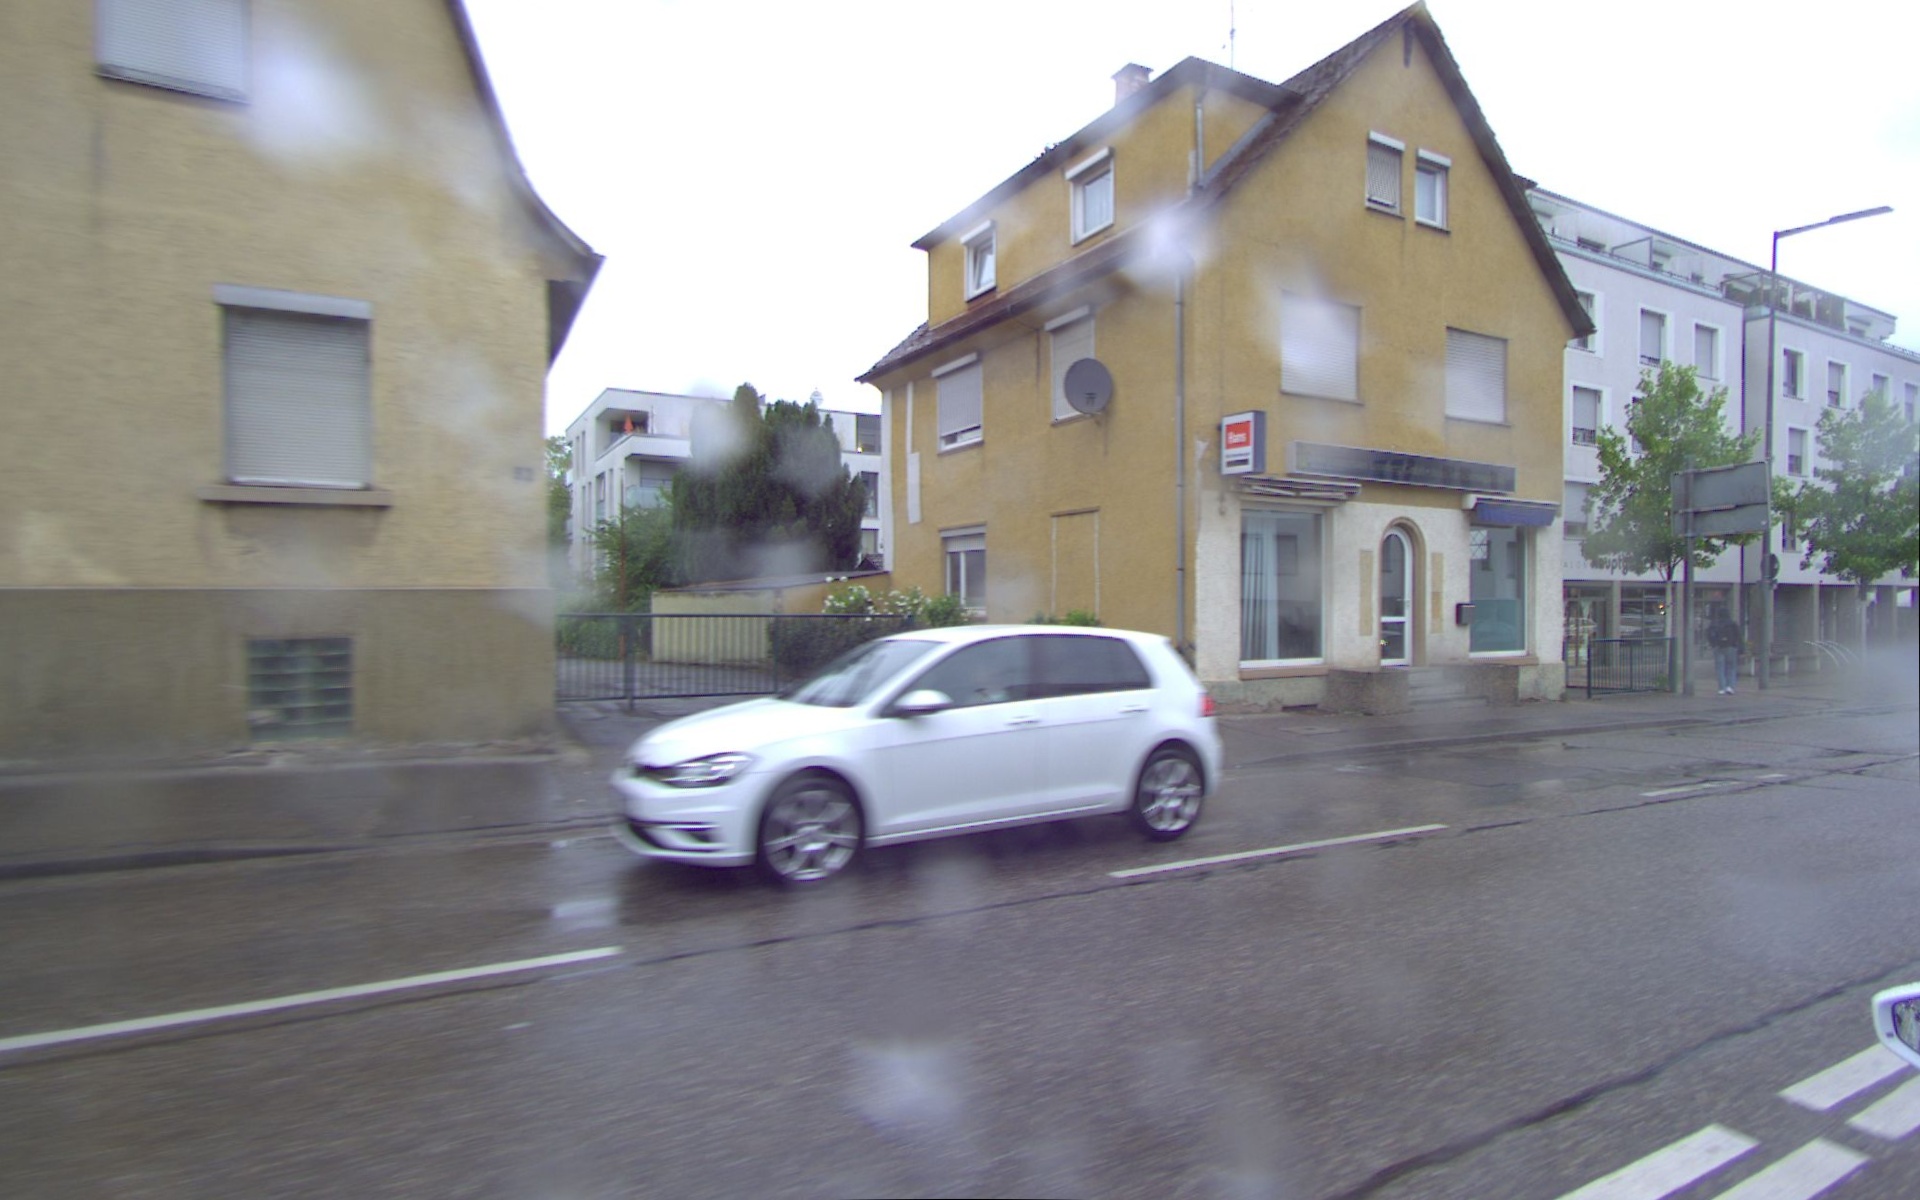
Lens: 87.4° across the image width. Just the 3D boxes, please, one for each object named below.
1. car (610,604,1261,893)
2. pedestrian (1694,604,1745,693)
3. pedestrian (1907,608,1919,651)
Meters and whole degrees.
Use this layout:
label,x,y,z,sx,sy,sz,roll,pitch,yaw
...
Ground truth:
label,x,y,z,sx,sy,sz,roll,pitch,yaw
car,-0.066,0.847,6.749,4.089,1.436,1.642,2,-4,-29
pedestrian,15.805,0.999,20.892,0.791,1.811,0.878,0,-2,41
pedestrian,39.313,1.201,40.956,0.991,1.761,0.805,2,-2,-30
